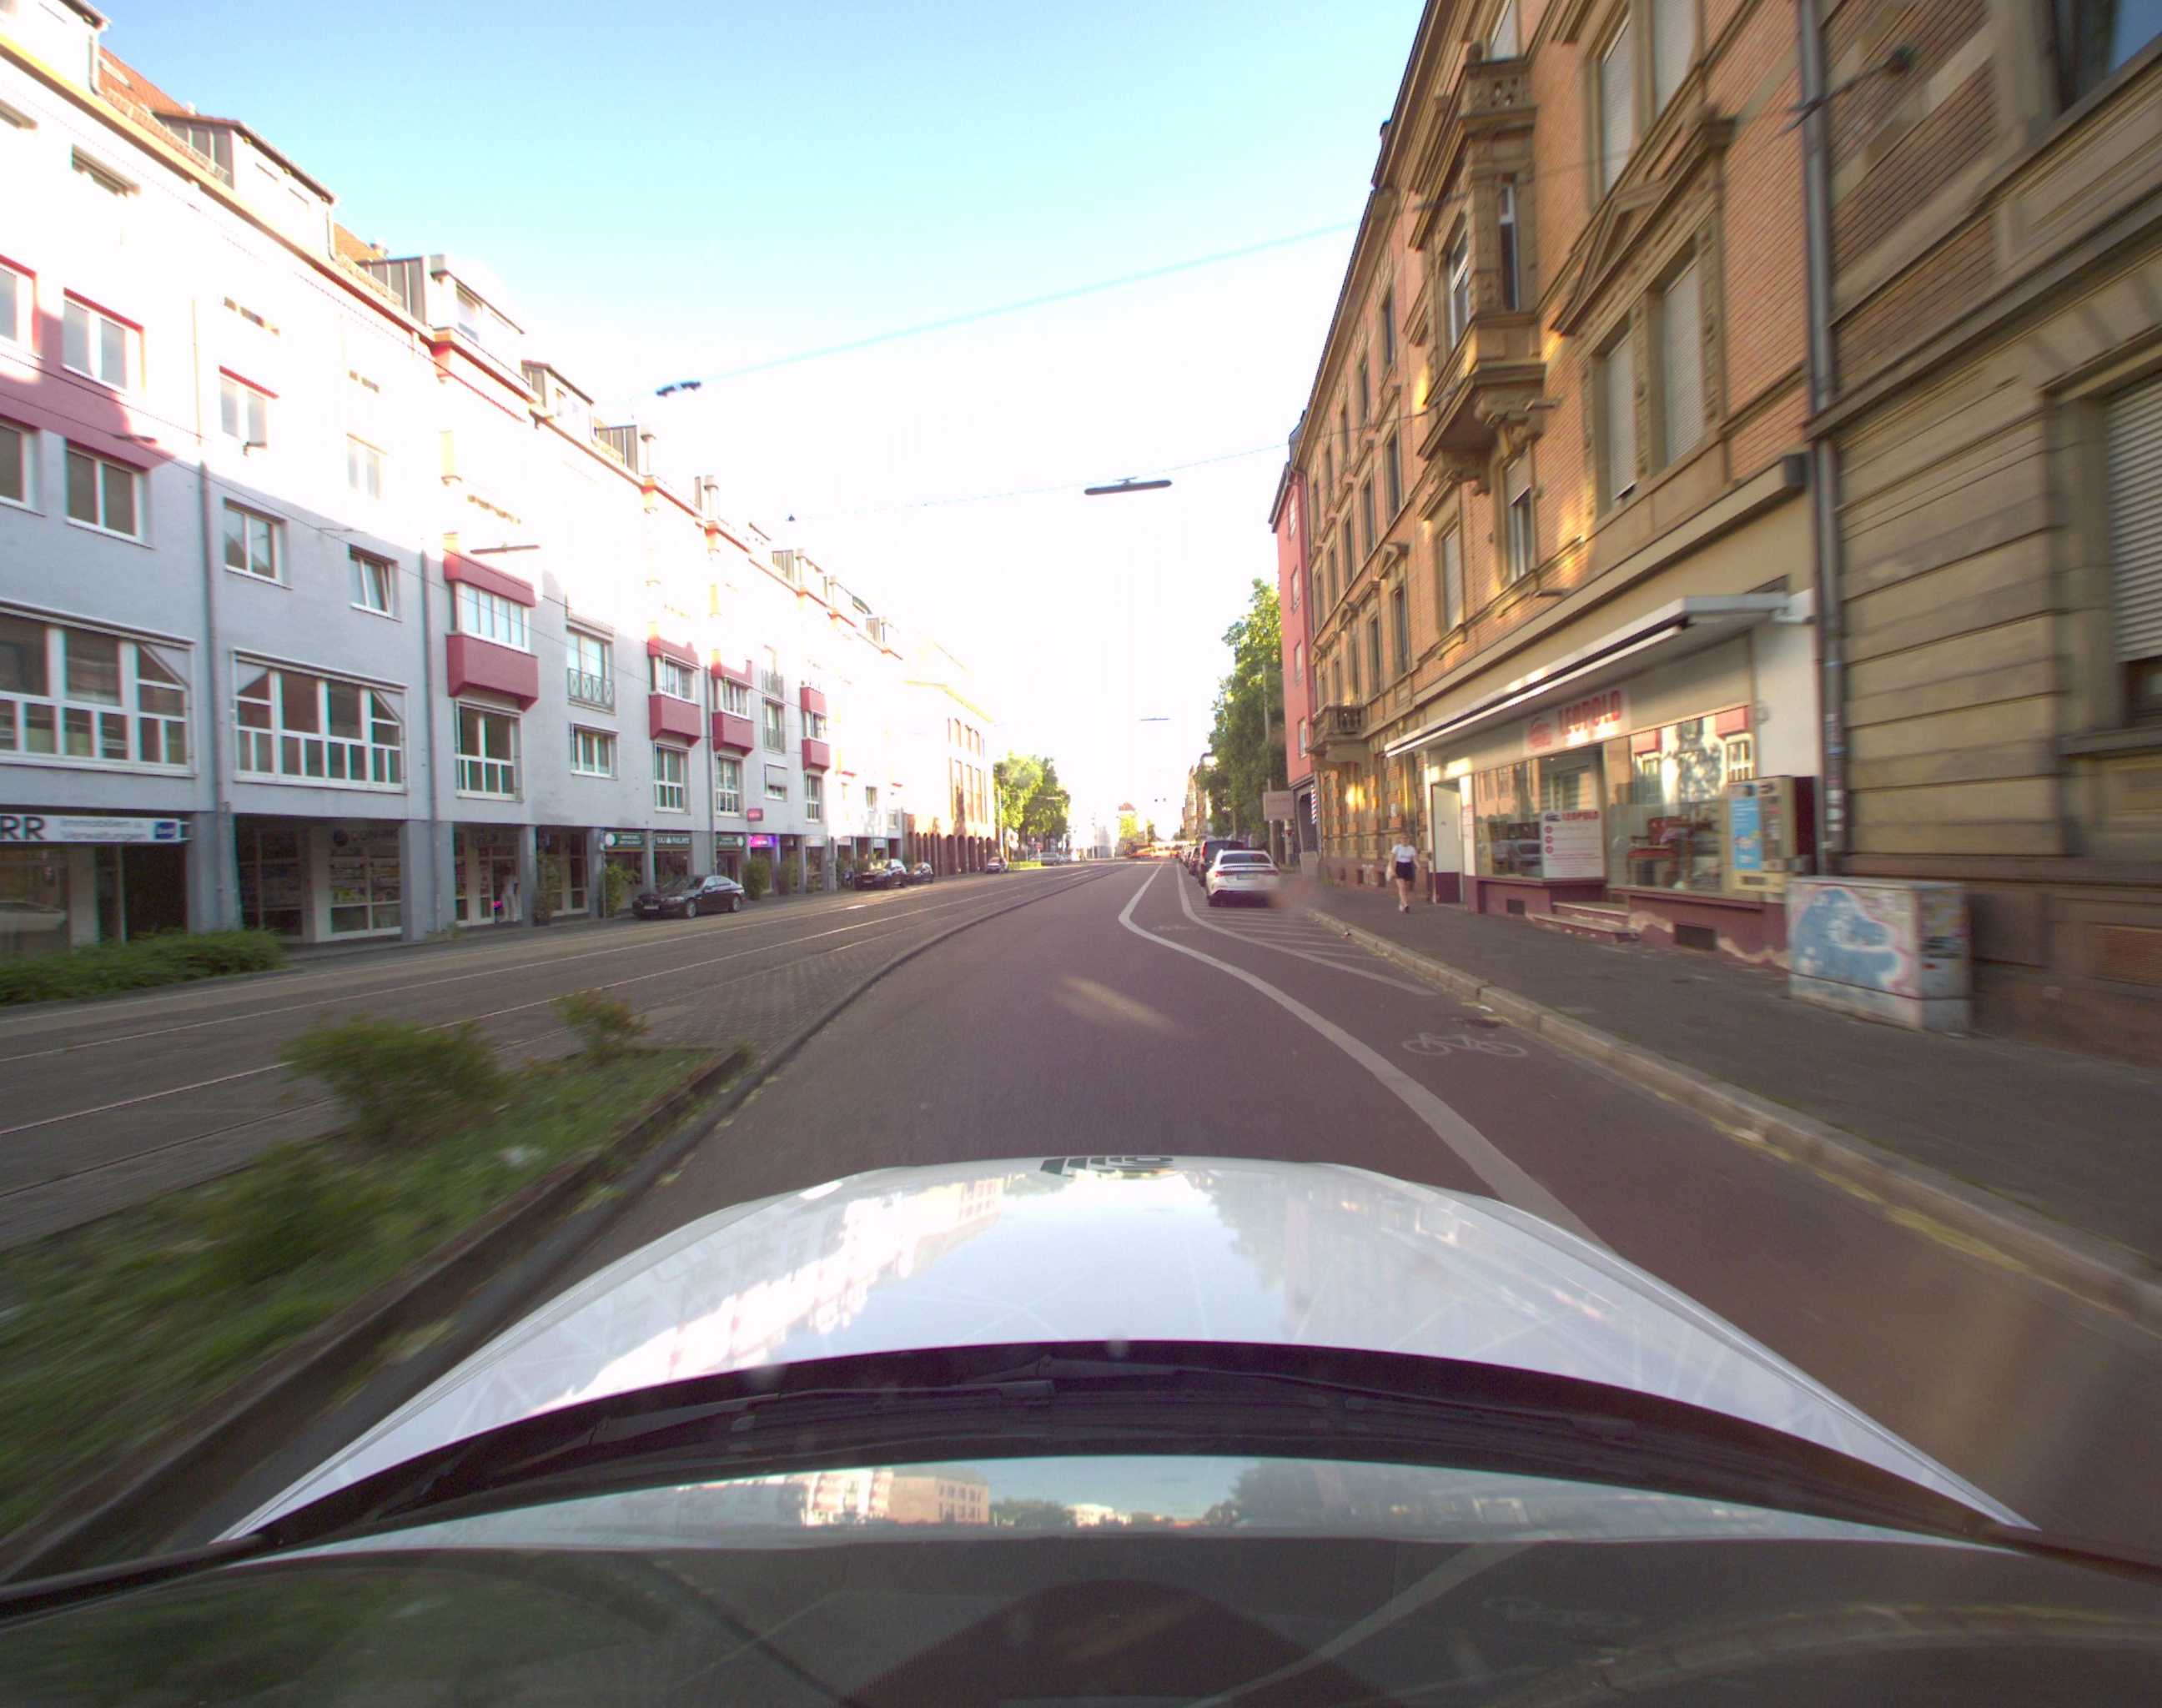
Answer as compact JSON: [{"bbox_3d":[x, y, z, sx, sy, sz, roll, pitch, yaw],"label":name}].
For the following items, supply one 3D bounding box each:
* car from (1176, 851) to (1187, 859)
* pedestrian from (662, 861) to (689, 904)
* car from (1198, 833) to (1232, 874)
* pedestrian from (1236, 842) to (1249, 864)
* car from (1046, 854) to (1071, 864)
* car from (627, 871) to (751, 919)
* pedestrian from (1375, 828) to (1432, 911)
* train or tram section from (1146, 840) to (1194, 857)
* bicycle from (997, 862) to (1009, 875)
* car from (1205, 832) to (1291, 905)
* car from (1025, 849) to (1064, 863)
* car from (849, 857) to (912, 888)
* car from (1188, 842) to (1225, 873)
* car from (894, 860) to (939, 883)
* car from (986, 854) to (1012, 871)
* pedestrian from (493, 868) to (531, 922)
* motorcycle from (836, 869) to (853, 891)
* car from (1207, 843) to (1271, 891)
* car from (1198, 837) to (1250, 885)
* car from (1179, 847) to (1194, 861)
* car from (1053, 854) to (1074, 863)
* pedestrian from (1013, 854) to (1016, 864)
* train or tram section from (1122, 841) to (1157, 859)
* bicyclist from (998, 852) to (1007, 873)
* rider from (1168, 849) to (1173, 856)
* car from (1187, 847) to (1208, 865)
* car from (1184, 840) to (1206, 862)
[{"bbox_3d":[19.459,0.182,157.946,2.055,1.389,4.233,0,0,6],"label":"car"},{"bbox_3d":[-16.635,1.143,33.429,0.611,1.712,0.746,-2,0,4],"label":"pedestrian"},{"bbox_3d":[7.404,-0.037,44.947,1.695,2.120,3.716,-1,0,9],"label":"car"},{"bbox_3d":[12.130,-0.050,61.280,0.771,1.567,0.916,-5,0,7],"label":"pedestrian"},{"bbox_3d":[-3.838,0.854,139.208,3.887,1.627,1.860,0,0,-25],"label":"car"},{"bbox_3d":[-13.853,1.405,29.165,1.861,1.439,4.712,-1,0,4],"label":"car"},{"bbox_3d":[6.492,0.293,16.436,0.771,1.567,0.916,-5,0,9],"label":"pedestrian"},{"bbox_3d":[20.718,-1.328,188.848,12.907,3.878,2.670,0,0,-39],"label":"train or tram section"},{"bbox_3d":[-6.791,1.265,70.749,0.579,1.077,2.189,-4,0,5],"label":"bicycle"},{"bbox_3d":[4.462,0.347,22.470,1.956,1.771,4.885,-1,0,7],"label":"car"},{"bbox_3d":[-5.371,0.330,119.953,5.279,2.043,2.398,0,-2,-26],"label":"car"},{"bbox_3d":[-11.714,1.079,47.930,2.080,1.713,4.826,-1,-1,6],"label":"car"},{"bbox_3d":[7.711,0.202,50.395,1.940,1.788,5.189,-1,0,5],"label":"car"},{"bbox_3d":[-11.116,1.159,55.266,1.858,1.450,3.593,-1,0,9],"label":"car"},{"bbox_3d":[-8.159,0.842,81.787,1.861,1.600,4.259,-2,0,4],"label":"car"},{"bbox_3d":[-18.762,1.336,26.871,0.740,1.712,0.616,-2,0,2],"label":"pedestrian"},{"bbox_3d":[-13.440,1.448,46.347,0.670,1.205,2.133,-1,-1,-10],"label":"motorcycle"},{"bbox_3d":[5.365,0.409,28.119,1.722,1.496,3.967,-1,0,5],"label":"car"},{"bbox_3d":[5.946,0.251,34.319,1.944,1.869,5.000,-1,0,8],"label":"car"},{"bbox_3d":[12.775,-0.002,98.631,1.714,1.567,4.090,-3,0,6],"label":"car"},{"bbox_3d":[-3.238,0.817,149.627,3.537,1.481,1.569,0,0,-26],"label":"car"},{"bbox_3d":[-9.582,0.717,116.868,0.363,1.343,0.481,0,0,-14],"label":"pedestrian"},{"bbox_3d":[13.011,-0.872,179.725,2.666,3.960,12.165,0,0,30],"label":"train or tram section"},{"bbox_3d":[-6.824,0.744,70.841,0.568,1.712,0.747,-4,-1,6],"label":"bicyclist"},{"bbox_3d":[17.055,-0.280,154.675,0.879,1.481,0.714,0,0,7],"label":"rider"},{"bbox_3d":[9.832,0.188,68.867,1.612,1.431,3.992,-2,0,7],"label":"car"},{"bbox_3d":[11.182,-0.305,80.003,1.960,2.014,4.568,-4,0,7],"label":"car"}]
